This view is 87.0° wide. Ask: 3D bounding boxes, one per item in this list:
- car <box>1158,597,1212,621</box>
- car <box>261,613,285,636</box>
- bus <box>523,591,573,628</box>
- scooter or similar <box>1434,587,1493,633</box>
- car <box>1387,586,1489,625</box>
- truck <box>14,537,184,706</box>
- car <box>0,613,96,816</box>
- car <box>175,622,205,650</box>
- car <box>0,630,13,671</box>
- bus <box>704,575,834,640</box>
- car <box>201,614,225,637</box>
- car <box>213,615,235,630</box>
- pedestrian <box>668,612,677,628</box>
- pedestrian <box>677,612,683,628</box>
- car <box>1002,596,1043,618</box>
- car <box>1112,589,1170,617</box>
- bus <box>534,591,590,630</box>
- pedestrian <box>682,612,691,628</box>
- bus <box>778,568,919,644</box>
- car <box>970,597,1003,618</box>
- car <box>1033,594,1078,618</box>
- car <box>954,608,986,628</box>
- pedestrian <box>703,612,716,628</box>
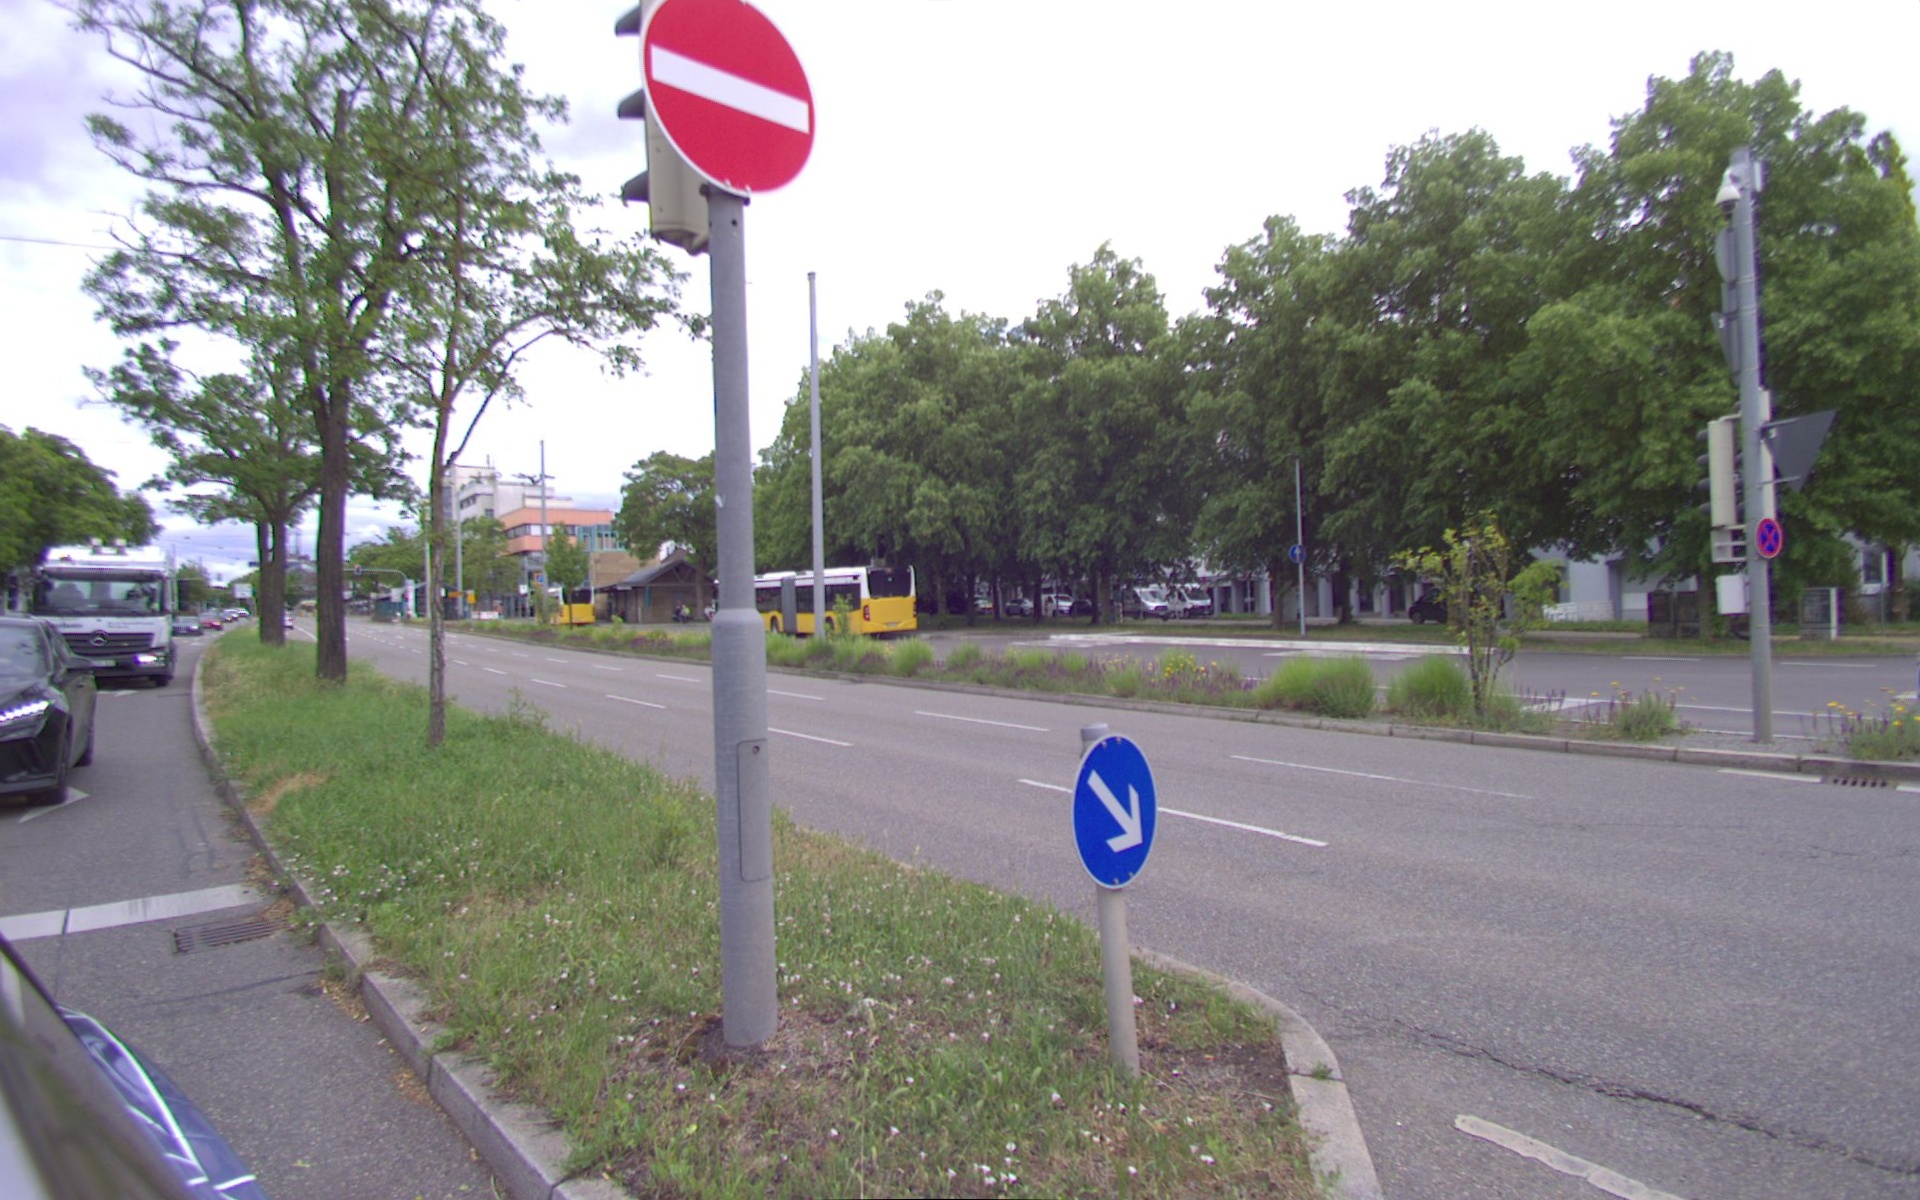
[{"bbox_3d":[15.884,0.638,71.665,1.751,1.652,4.013,-1,-1,-21],"label":"car"},{"bbox_3d":[-63.376,2.240,93.302,1.699,2.029,4.009,-1,-1,-36],"label":"car"},{"bbox_3d":[-35.406,0.858,86.746,2.842,3.025,9.204,-1,-1,-29],"label":"bus"},{"bbox_3d":[18.828,0.371,37.888,1.846,1.676,0.645,-2,-1,40],"label":"scooter or similar"},{"bbox_3d":[23.489,0.290,49.927,1.756,1.861,4.432,-1,-1,-24],"label":"car"},{"bbox_3d":[-19.362,0.466,23.122,2.505,3.230,7.384,-1,-1,-37],"label":"truck"},{"bbox_3d":[-8.554,0.863,8.487,1.799,1.449,4.008,-1,-1,-38],"label":"car"},{"bbox_3d":[-58.552,2.697,76.963,1.699,2.029,4.009,-1,-1,-36],"label":"car"},{"bbox_3d":[-35.360,1.817,35.788,1.966,1.475,4.011,0,-1,-32],"label":"car"},{"bbox_3d":[-10.098,0.429,52.294,2.843,3.025,10.421,-1,-1,-33],"label":"bus"},{"bbox_3d":[-68.645,2.316,93.000,1.699,2.029,4.009,-1,-1,-36],"label":"car"},{"bbox_3d":[-101.713,3.146,139.836,1.969,2.029,4.005,0,-1,-42],"label":"car"},{"bbox_3d":[-20.902,1.446,73.589,0.590,1.171,0.744,0,-1,-14],"label":"pedestrian"},{"bbox_3d":[-19.915,1.426,71.986,0.361,1.175,0.900,0,-1,-13],"label":"pedestrian"},{"bbox_3d":[5.102,0.579,83.450,1.662,1.763,4.013,-1,0,-25],"label":"car"},{"bbox_3d":[11.787,0.238,66.161,1.662,1.763,4.013,-1,0,-25],"label":"car"},{"bbox_3d":[-31.134,0.821,79.011,2.842,2.830,9.204,-1,-1,-29],"label":"bus"},{"bbox_3d":[-19.419,1.422,71.956,0.590,1.171,0.744,0,-1,-13],"label":"pedestrian"},{"bbox_3d":[-5.092,0.286,44.604,2.843,3.025,7.904,-1,-1,-33],"label":"bus"},{"bbox_3d":[2.337,0.654,88.486,1.662,1.763,3.104,-1,0,-25],"label":"car"},{"bbox_3d":[7.264,0.487,77.423,1.662,1.763,4.013,-1,0,-25],"label":"car"},{"bbox_3d":[0.893,1.634,91.846,1.662,1.763,3.104,-1,0,-25],"label":"car"},{"bbox_3d":[-17.961,1.435,72.539,0.640,1.180,0.927,0,-1,-38],"label":"pedestrian"}]
